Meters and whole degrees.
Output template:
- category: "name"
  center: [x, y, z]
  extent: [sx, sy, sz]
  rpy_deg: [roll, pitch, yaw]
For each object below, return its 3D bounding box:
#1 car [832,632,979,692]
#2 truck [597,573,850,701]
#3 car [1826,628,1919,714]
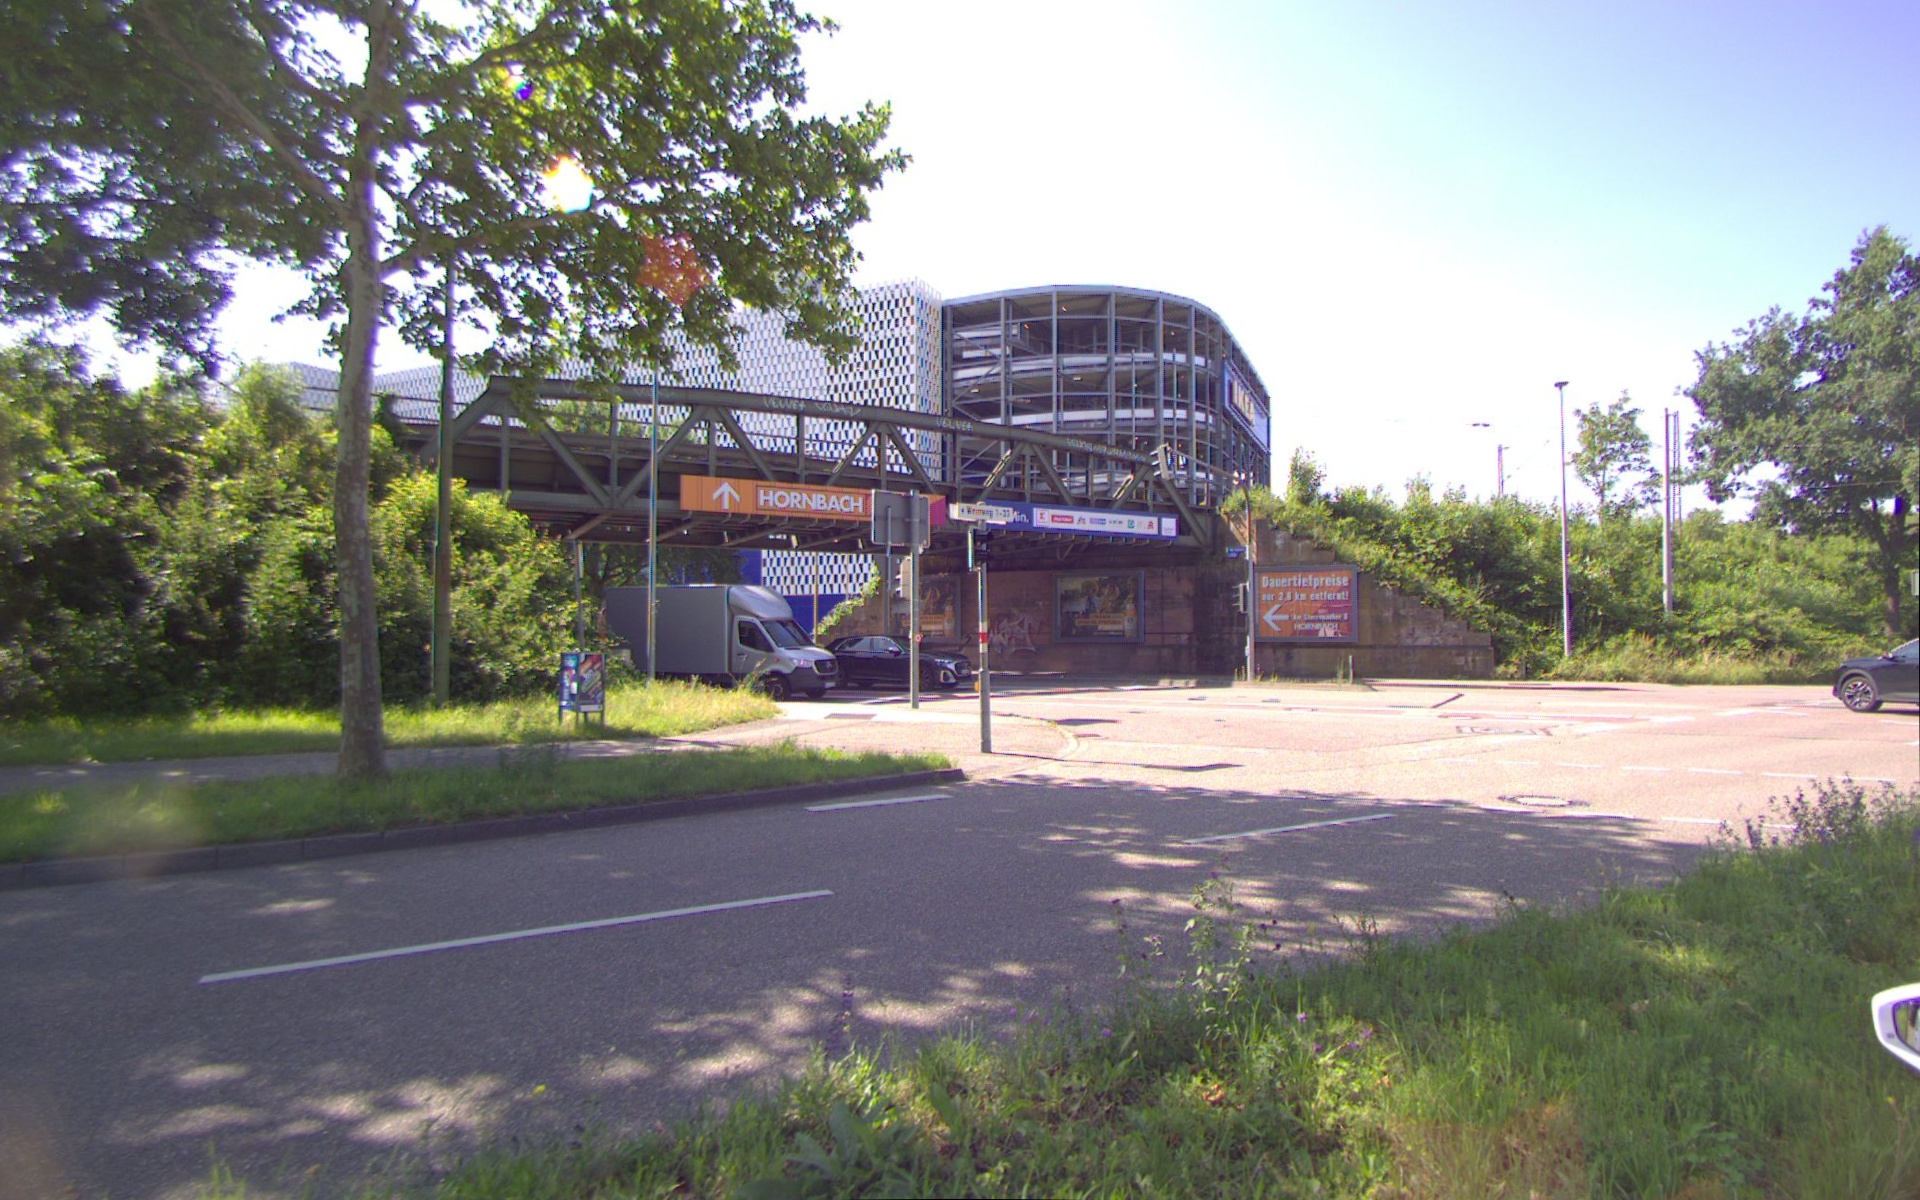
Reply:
- category: "car"
  center: [-1.620, 1.838, 29.901]
  extent: [3.925, 1.668, 1.903]
  rpy_deg: [-2, -2, 25]
- category: "truck"
  center: [-6.466, 1.050, 27.243]
  extent: [6.736, 3.146, 2.217]
  rpy_deg: [-2, -2, 25]
- category: "car"
  center: [19.661, 1.381, 19.570]
  extent: [1.899, 1.684, 4.229]
  rpy_deg: [0, -2, 0]
